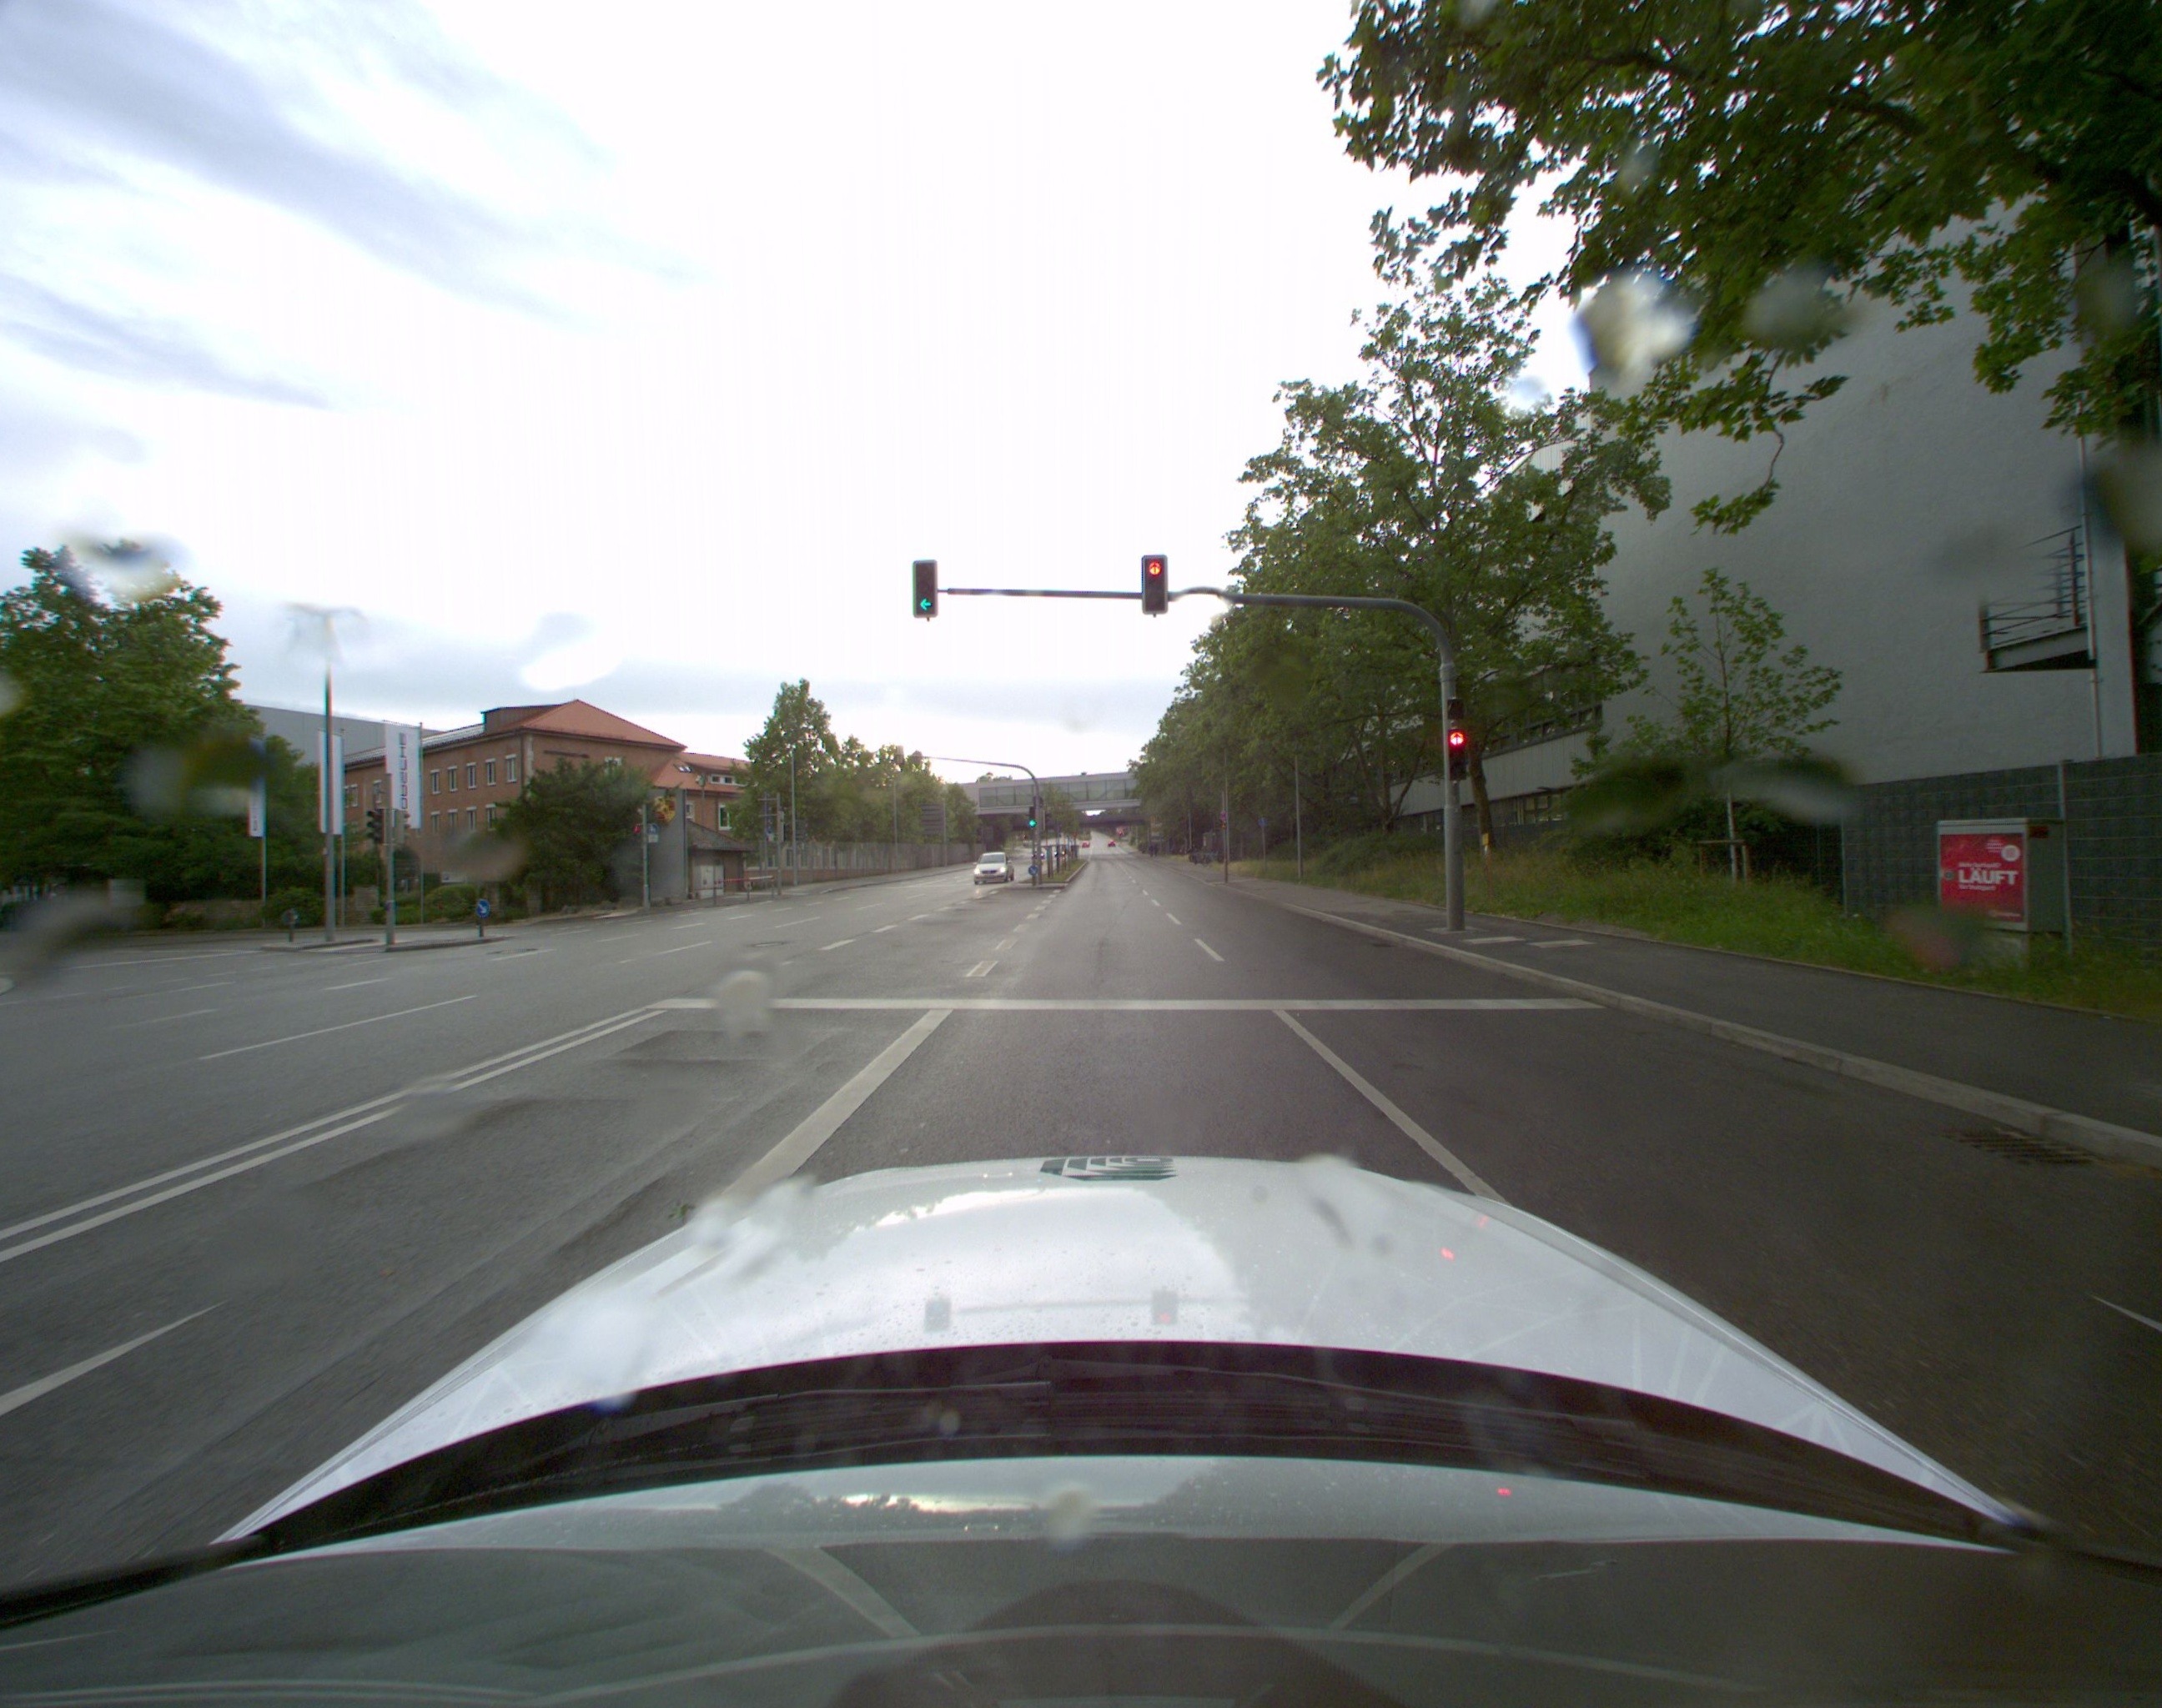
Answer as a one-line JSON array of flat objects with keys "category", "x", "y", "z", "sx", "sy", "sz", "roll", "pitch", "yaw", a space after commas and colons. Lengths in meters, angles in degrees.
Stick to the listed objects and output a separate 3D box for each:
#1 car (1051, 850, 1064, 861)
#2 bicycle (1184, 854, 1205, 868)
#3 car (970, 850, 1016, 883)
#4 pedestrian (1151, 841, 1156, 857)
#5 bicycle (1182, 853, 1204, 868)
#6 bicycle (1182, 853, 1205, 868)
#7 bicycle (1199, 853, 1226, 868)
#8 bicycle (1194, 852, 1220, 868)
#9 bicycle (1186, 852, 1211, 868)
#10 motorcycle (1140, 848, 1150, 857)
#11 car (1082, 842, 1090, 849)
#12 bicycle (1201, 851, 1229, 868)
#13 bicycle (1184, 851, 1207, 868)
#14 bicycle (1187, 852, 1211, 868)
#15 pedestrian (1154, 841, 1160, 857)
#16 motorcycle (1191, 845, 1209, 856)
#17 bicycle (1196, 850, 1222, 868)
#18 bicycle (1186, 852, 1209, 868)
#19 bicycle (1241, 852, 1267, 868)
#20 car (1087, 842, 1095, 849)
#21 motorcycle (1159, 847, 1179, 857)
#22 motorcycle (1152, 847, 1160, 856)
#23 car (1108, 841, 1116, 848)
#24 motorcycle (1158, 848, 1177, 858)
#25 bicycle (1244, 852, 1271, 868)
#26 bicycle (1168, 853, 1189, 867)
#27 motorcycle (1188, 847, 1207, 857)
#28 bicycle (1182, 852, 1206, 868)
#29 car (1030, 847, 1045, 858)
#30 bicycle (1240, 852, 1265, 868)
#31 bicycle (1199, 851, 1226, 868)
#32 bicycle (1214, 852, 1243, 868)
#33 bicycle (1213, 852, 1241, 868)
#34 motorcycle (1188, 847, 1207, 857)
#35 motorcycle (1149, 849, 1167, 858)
[{"category": "car", "x": -3.934, "y": 0.239, "z": 136.257, "sx": 1.870, "sy": 1.624, "sz": 3.780, "roll": -2, "pitch": 0, "yaw": 2}, {"category": "bicycle", "x": 11.065, "y": 0.656, "z": 79.381, "sx": 1.955, "sy": 1.328, "sz": 0.654, "roll": 1, "pitch": -1, "yaw": 2}, {"category": "car", "x": -4.656, "y": 0.657, "z": 43.583, "sx": 1.870, "sy": 1.624, "sz": 3.780, "roll": -2, "pitch": 0, "yaw": 2}, {"category": "pedestrian", "x": 9.385, "y": -0.614, "z": 105.575, "sx": 0.619, "sy": 2.013, "sz": 0.606, "roll": -3, "pitch": 0, "yaw": 2}, {"category": "bicycle", "x": 10.279, "y": 0.573, "z": 74.497, "sx": 1.952, "sy": 1.328, "sz": 0.576, "roll": 1, "pitch": -1, "yaw": 2}, {"category": "bicycle", "x": 10.093, "y": 0.564, "z": 73.264, "sx": 1.982, "sy": 1.328, "sz": 0.576, "roll": 1, "pitch": -1, "yaw": 2}, {"category": "bicycle", "x": 9.970, "y": 0.483, "z": 61.626, "sx": 1.982, "sy": 1.094, "sz": 0.541, "roll": 1, "pitch": -1, "yaw": 2}, {"category": "bicycle", "x": 10.029, "y": 0.466, "z": 64.979, "sx": 1.982, "sy": 1.242, "sz": 0.541, "roll": 1, "pitch": -1, "yaw": 2}, {"category": "bicycle", "x": 9.713, "y": 0.499, "z": 67.313, "sx": 1.982, "sy": 1.242, "sz": 0.541, "roll": 1, "pitch": -1, "yaw": 2}, {"category": "motorcycle", "x": 10.215, "y": -0.275, "z": 129.649, "sx": 0.792, "sy": 1.311, "sz": 2.363, "roll": -2, "pitch": 0, "yaw": -16}, {"category": "car", "x": 1.241, "y": -2.214, "z": 211.385, "sx": 1.986, "sy": 1.762, "sz": 4.002, "roll": 1, "pitch": -1, "yaw": 2}, {"category": "bicycle", "x": 9.862, "y": 0.400, "z": 60.021, "sx": 1.982, "sy": 1.216, "sz": 0.541, "roll": 1, "pitch": -1, "yaw": 2}, {"category": "bicycle", "x": 10.062, "y": 0.476, "z": 71.699, "sx": 1.982, "sy": 1.430, "sz": 0.723, "roll": 1, "pitch": -1, "yaw": 2}, {"category": "bicycle", "x": 10.023, "y": 0.500, "z": 69.211, "sx": 1.982, "sy": 1.328, "sz": 0.576, "roll": 1, "pitch": -1, "yaw": 2}, {"category": "pedestrian", "x": 9.801, "y": -0.650, "z": 104.911, "sx": 0.619, "sy": 2.013, "sz": 0.606, "roll": -3, "pitch": 0, "yaw": 2}, {"category": "motorcycle", "x": 16.181, "y": -0.497, "z": 111.075, "sx": 2.354, "sy": 1.476, "sz": 0.724, "roll": -3, "pitch": 0, "yaw": 9}, {"category": "bicycle", "x": 10.099, "y": 0.390, "z": 64.286, "sx": 1.982, "sy": 1.340, "sz": 0.541, "roll": 1, "pitch": -1, "yaw": 2}, {"category": "bicycle", "x": 10.394, "y": 0.544, "z": 72.544, "sx": 1.982, "sy": 1.328, "sz": 0.576, "roll": 1, "pitch": -1, "yaw": 2}, {"category": "bicycle", "x": 14.165, "y": 0.502, "z": 66.626, "sx": 1.982, "sy": 1.328, "sz": 0.576, "roll": 1, "pitch": -1, "yaw": 2}, {"category": "car", "x": 2.641, "y": -2.284, "z": 218.035, "sx": 1.877, "sy": 1.762, "sz": 3.971, "roll": 1, "pitch": -1, "yaw": 2}, {"category": "motorcycle", "x": 11.019, "y": -0.230, "z": 101.573, "sx": 2.354, "sy": 1.202, "sz": 0.724, "roll": -3, "pitch": 0, "yaw": 9}, {"category": "motorcycle", "x": 11.458, "y": -0.392, "z": 124.589, "sx": 0.789, "sy": 1.311, "sz": 2.371, "roll": -3, "pitch": 0, "yaw": -6}, {"category": "car", "x": 7.867, "y": -2.426, "z": 207.285, "sx": 1.868, "sy": 1.497, "sz": 4.070, "roll": 1, "pitch": -1, "yaw": 2}, {"category": "motorcycle", "x": 11.200, "y": -0.076, "z": 105.688, "sx": 2.354, "sy": 1.202, "sz": 0.724, "roll": -3, "pitch": 0, "yaw": 9}, {"category": "bicycle", "x": 14.130, "y": 0.480, "z": 65.197, "sx": 1.982, "sy": 1.328, "sz": 0.576, "roll": 1, "pitch": -1, "yaw": 2}, {"category": "bicycle", "x": 9.433, "y": 0.628, "z": 78.539, "sx": 1.955, "sy": 1.328, "sz": 0.654, "roll": 1, "pitch": -1, "yaw": 2}, {"category": "motorcycle", "x": 15.105, "y": -0.312, "z": 105.352, "sx": 2.354, "sy": 1.202, "sz": 0.724, "roll": -3, "pitch": 0, "yaw": 9}, {"category": "bicycle", "x": 9.730, "y": 0.510, "z": 70.029, "sx": 1.982, "sy": 1.328, "sz": 0.576, "roll": 1, "pitch": -1, "yaw": 2}, {"category": "car", "x": -6.642, "y": -0.206, "z": 124.687, "sx": 1.870, "sy": 1.624, "sz": 3.780, "roll": -2, "pitch": 0, "yaw": 2}, {"category": "bicycle", "x": 14.166, "y": 0.512, "z": 67.251, "sx": 1.982, "sy": 1.328, "sz": 0.576, "roll": 1, "pitch": -1, "yaw": 2}, {"category": "bicycle", "x": 10.008, "y": 0.427, "z": 62.208, "sx": 1.982, "sy": 1.233, "sz": 0.541, "roll": 1, "pitch": -1, "yaw": 2}, {"category": "bicycle", "x": 10.466, "y": 0.436, "z": 57.974, "sx": 1.982, "sy": 1.094, "sz": 0.541, "roll": 1, "pitch": -1, "yaw": 2}, {"category": "bicycle", "x": 10.488, "y": 0.445, "z": 58.542, "sx": 1.982, "sy": 1.094, "sz": 0.541, "roll": 1, "pitch": -1, "yaw": 2}, {"category": "motorcycle", "x": 14.920, "y": -0.211, "z": 104.277, "sx": 2.354, "sy": 1.202, "sz": 0.724, "roll": -3, "pitch": 0, "yaw": 9}, {"category": "motorcycle", "x": 10.397, "y": -0.052, "z": 110.020, "sx": 2.354, "sy": 1.202, "sz": 0.724, "roll": -3, "pitch": 0, "yaw": 9}]
